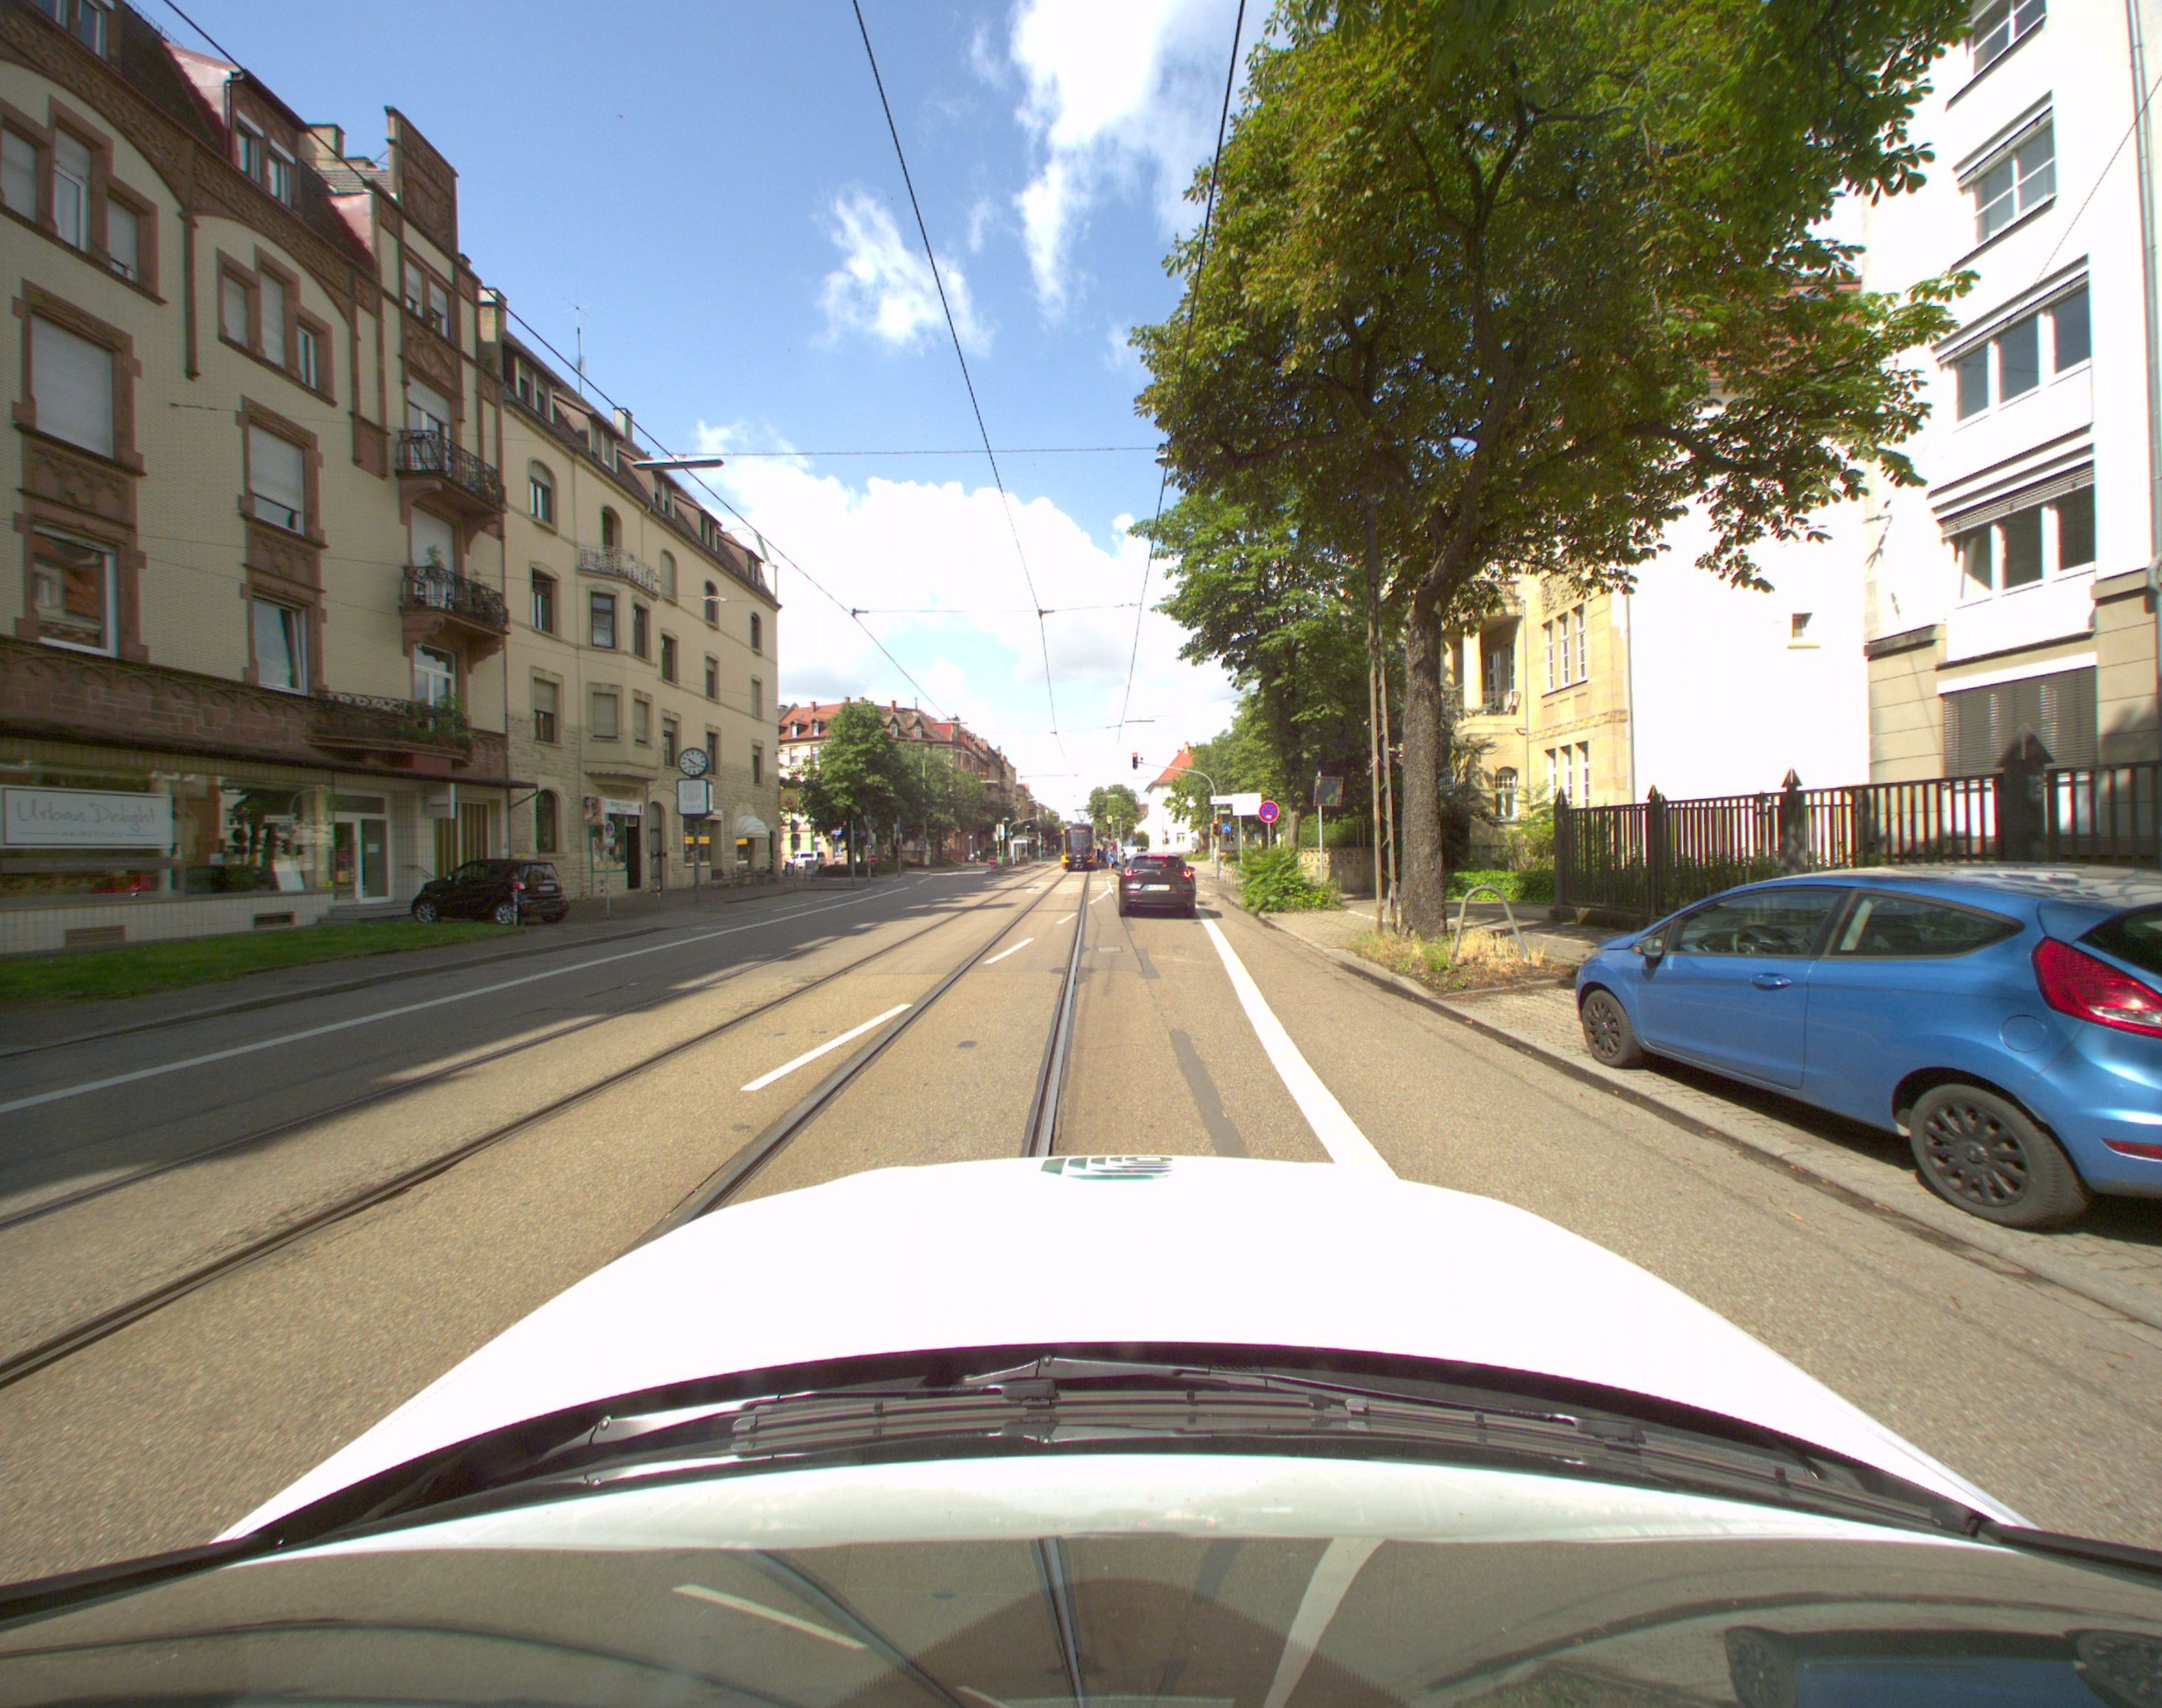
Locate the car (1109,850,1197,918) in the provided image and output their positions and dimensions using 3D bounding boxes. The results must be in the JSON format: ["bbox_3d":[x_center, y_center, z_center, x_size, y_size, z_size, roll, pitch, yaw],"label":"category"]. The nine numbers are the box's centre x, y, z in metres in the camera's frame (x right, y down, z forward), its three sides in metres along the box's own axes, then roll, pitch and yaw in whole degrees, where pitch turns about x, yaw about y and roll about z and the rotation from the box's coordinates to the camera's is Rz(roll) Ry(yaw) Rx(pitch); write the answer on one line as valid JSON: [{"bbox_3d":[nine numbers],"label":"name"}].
[{"bbox_3d":[1.694,0.660,20.416,1.784,1.512,4.350,0,0,0],"label":"car"}]

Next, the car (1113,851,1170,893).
[{"bbox_3d":[2.369,0.657,32.946,1.780,1.492,4.880,-2,0,-2],"label":"car"}]

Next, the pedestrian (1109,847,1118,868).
[{"bbox_3d":[2.490,0.233,62.906,0.666,1.605,0.699,-1,0,-1],"label":"pedestrian"}]

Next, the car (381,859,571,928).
[{"bbox_3d":[-14.082,0.887,19.073,3.222,1.513,1.680,0,0,3],"label":"car"}]

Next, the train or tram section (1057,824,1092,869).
[{"bbox_3d":[-0.621,-0.584,70.251,2.645,3.527,8.489,-2,0,-2],"label":"train or tram section"}]

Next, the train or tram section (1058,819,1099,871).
[{"bbox_3d":[-0.278,-0.620,61.753,2.645,3.527,8.489,-2,0,-2],"label":"train or tram section"}]

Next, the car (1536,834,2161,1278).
[{"bbox_3d":[4.574,0.690,4.797,1.618,1.496,3.848,-3,0,1],"label":"car"}]

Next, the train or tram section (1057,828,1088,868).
[{"bbox_3d":[-0.946,-0.550,78.746,2.645,3.527,8.489,-2,0,-2],"label":"train or tram section"}]

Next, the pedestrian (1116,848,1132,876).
[{"bbox_3d":[2.460,0.464,46.929,0.872,1.605,0.631,-1,0,-1],"label":"pedestrian"}]

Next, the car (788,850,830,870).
[{"bbox_3d":[-31.975,0.708,95.669,4.094,2.013,2.006,-4,0,10],"label":"car"}]
